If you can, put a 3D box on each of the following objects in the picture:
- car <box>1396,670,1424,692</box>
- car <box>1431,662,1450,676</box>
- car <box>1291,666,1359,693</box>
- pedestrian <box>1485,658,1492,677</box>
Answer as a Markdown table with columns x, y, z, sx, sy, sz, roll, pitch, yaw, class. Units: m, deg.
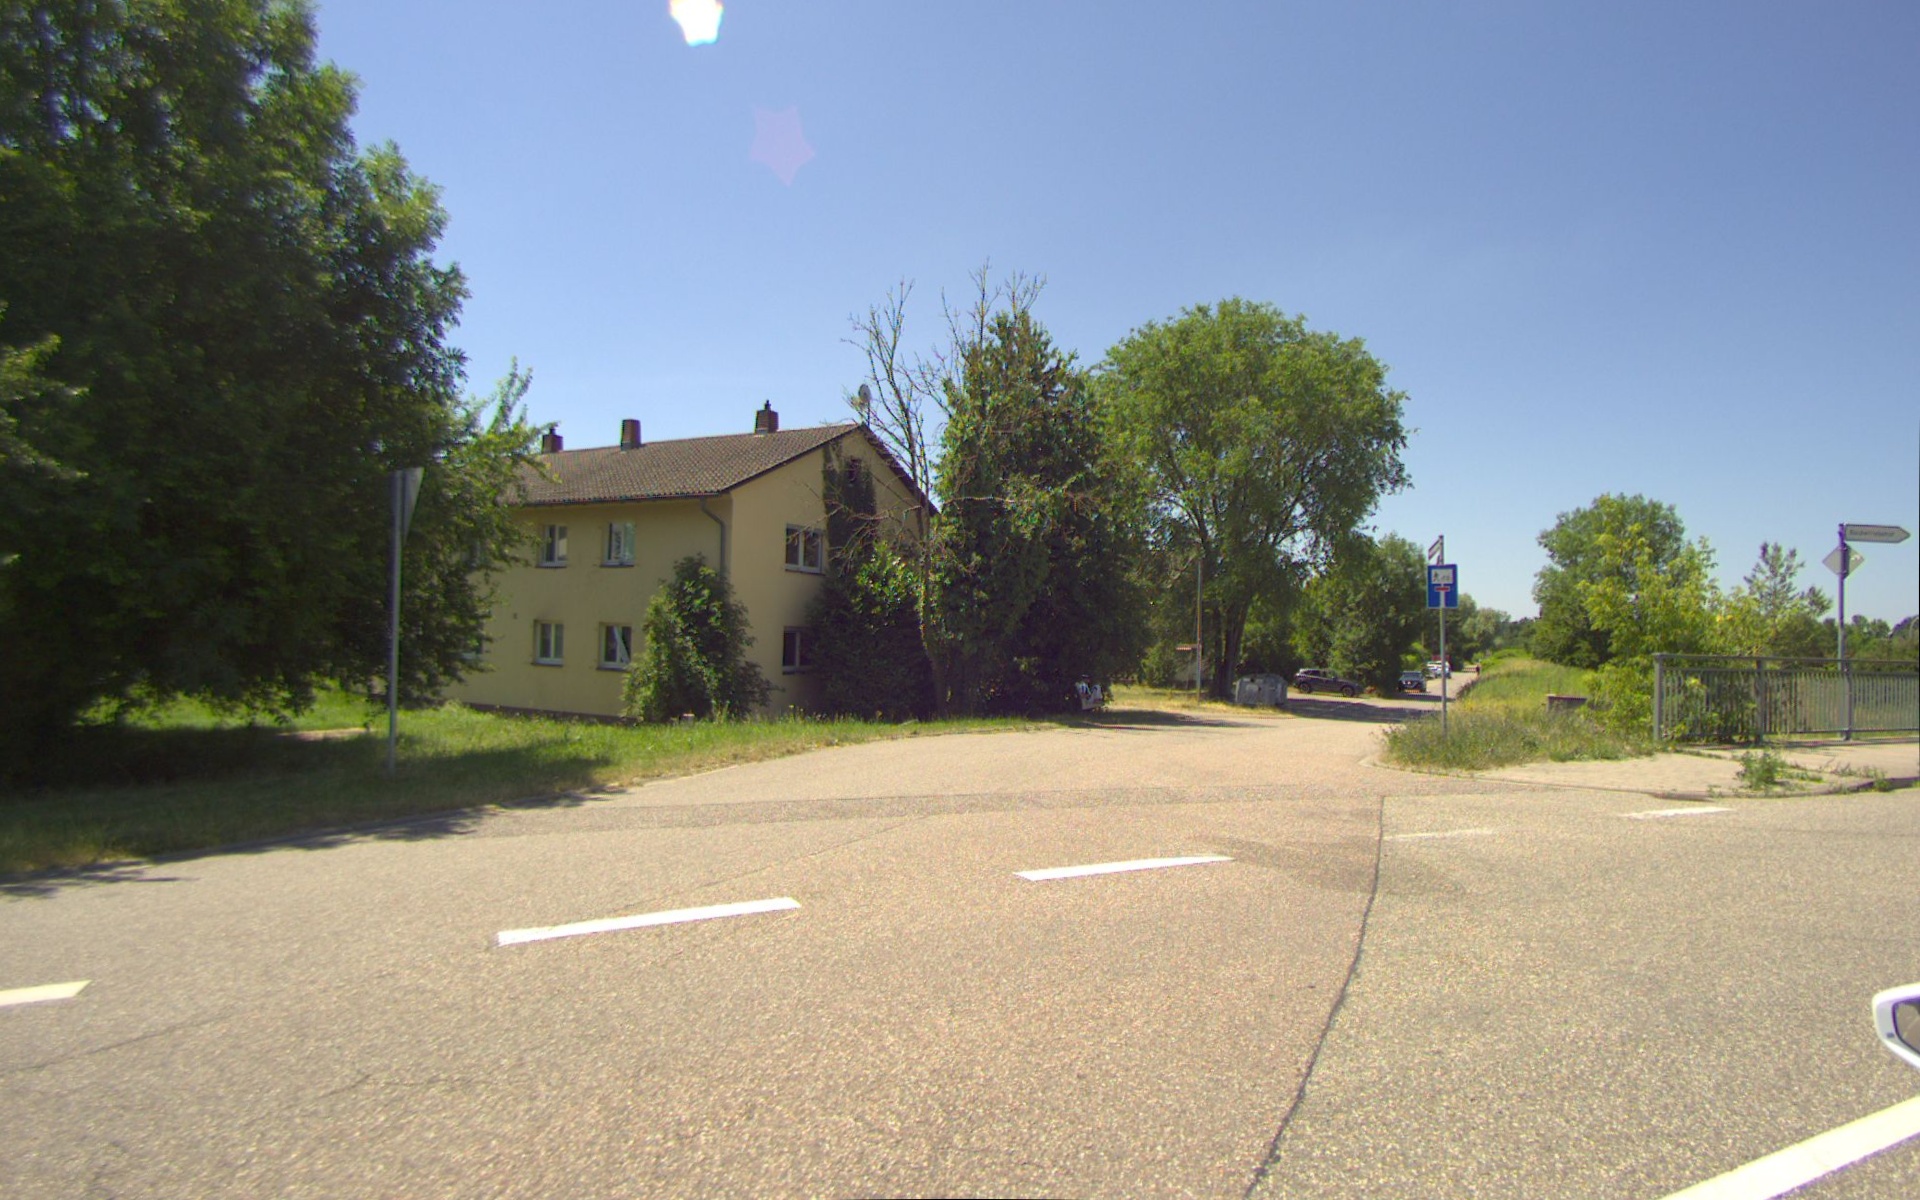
| x | y | z | sx | sy | sz | roll | pitch | yaw | class |
| --- | --- | --- | --- | --- | --- | --- | --- | --- | --- |
| 35.802 | 6.407 | 79.959 | 1.962 | 1.617 | 3.999 | 0 | -3 | 23 | car |
| 58.384 | 8.323 | 122.058 | 1.962 | 1.617 | 3.999 | 0 | -3 | 23 | car |
| 23.917 | 5.198 | 65.861 | 3.928 | 1.591 | 1.997 | -1 | -2 | 29 | car |
| 55.151 | 7.026 | 104.762 | 0.602 | 2.040 | 0.625 | 0 | -2 | 24 | pedestrian |
